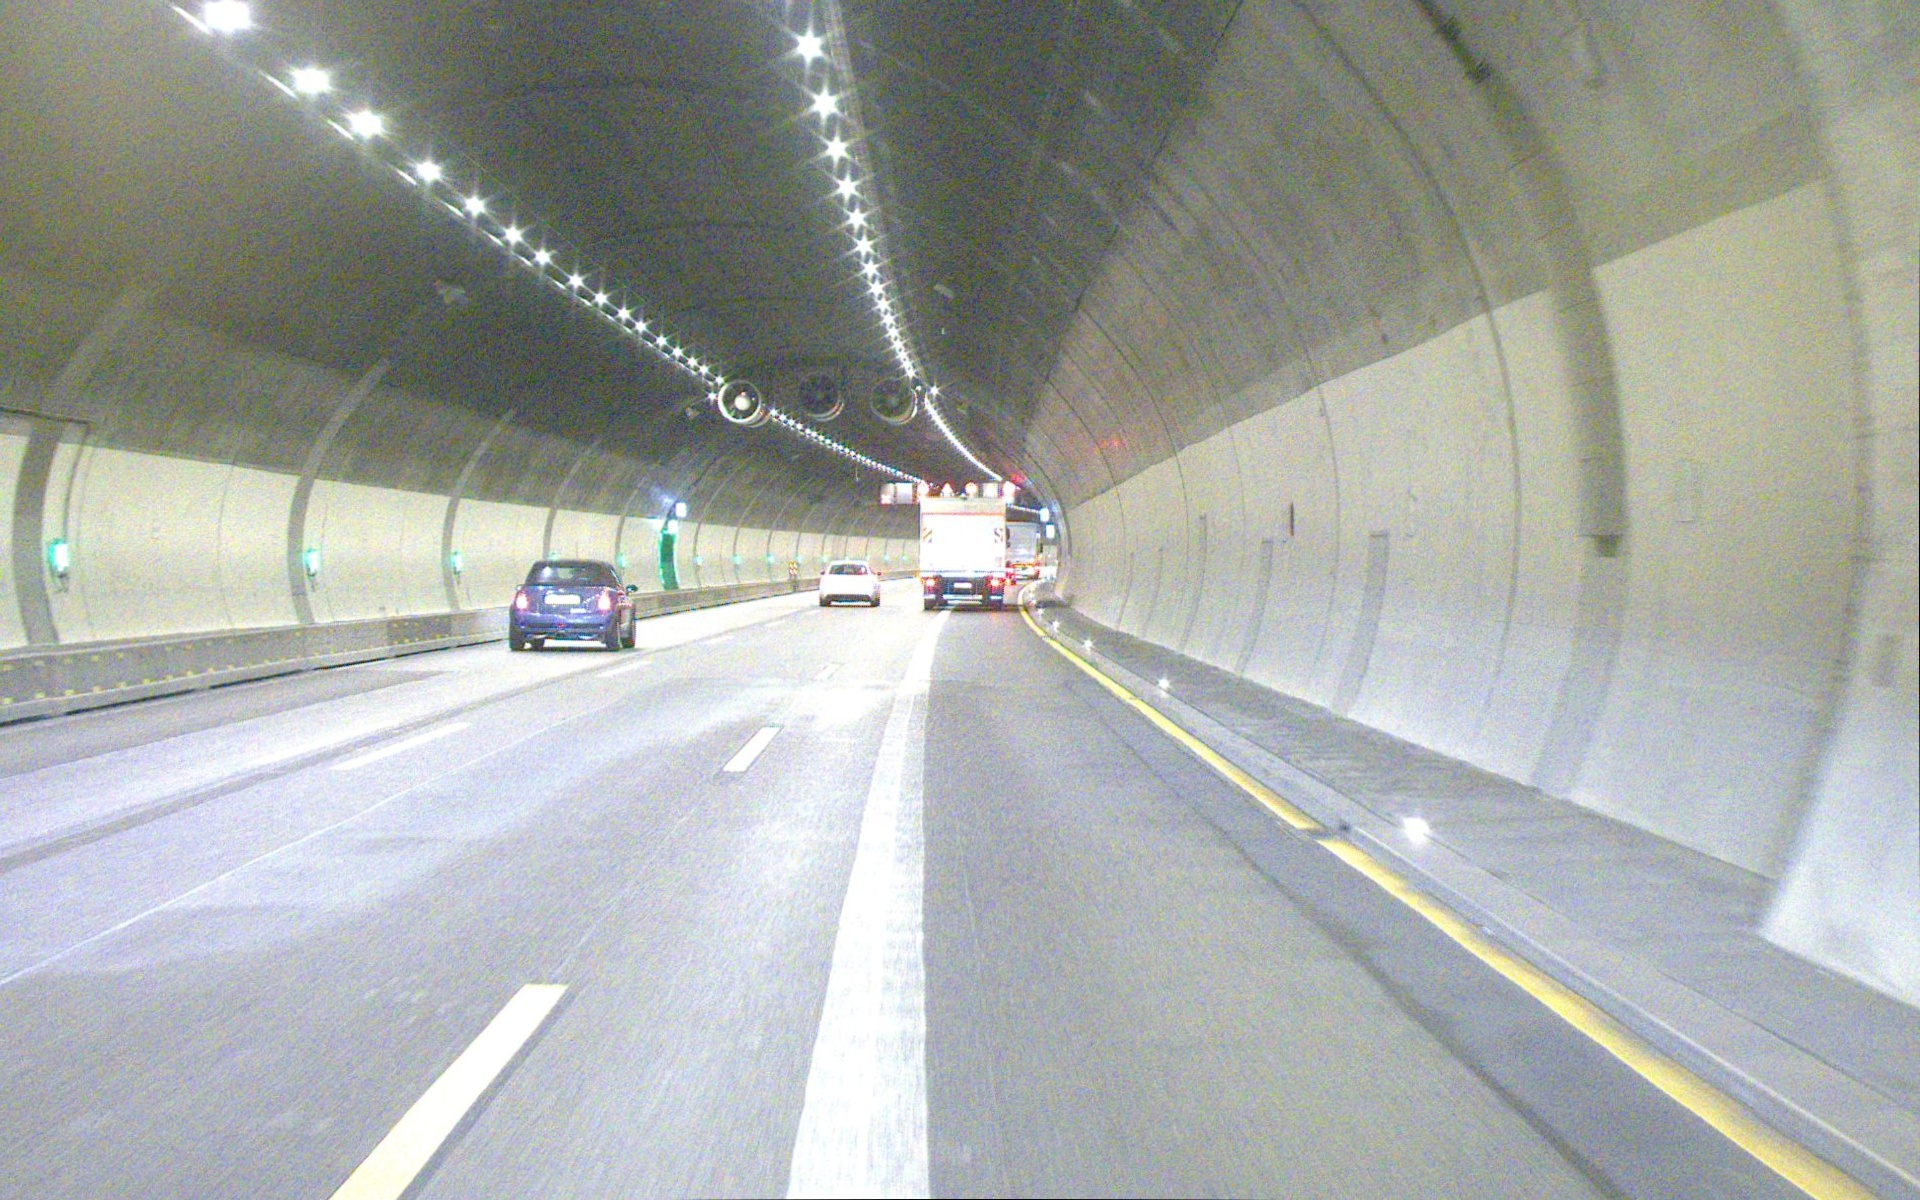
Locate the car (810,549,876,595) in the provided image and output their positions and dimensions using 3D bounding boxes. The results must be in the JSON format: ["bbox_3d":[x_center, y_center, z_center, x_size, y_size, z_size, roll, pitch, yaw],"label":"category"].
[{"bbox_3d":[-3.708,-0.901,109.614,1.993,1.408,4.743,0,1,-1],"label":"car"}]

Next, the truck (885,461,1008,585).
[{"bbox_3d":[-0.392,-2.362,106.354,3.592,3.638,10.723,0,1,0],"label":"truck"}]

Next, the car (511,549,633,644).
[{"bbox_3d":[-6.045,-0.079,53.841,1.689,1.412,3.923,0,1,-3],"label":"car"}]
